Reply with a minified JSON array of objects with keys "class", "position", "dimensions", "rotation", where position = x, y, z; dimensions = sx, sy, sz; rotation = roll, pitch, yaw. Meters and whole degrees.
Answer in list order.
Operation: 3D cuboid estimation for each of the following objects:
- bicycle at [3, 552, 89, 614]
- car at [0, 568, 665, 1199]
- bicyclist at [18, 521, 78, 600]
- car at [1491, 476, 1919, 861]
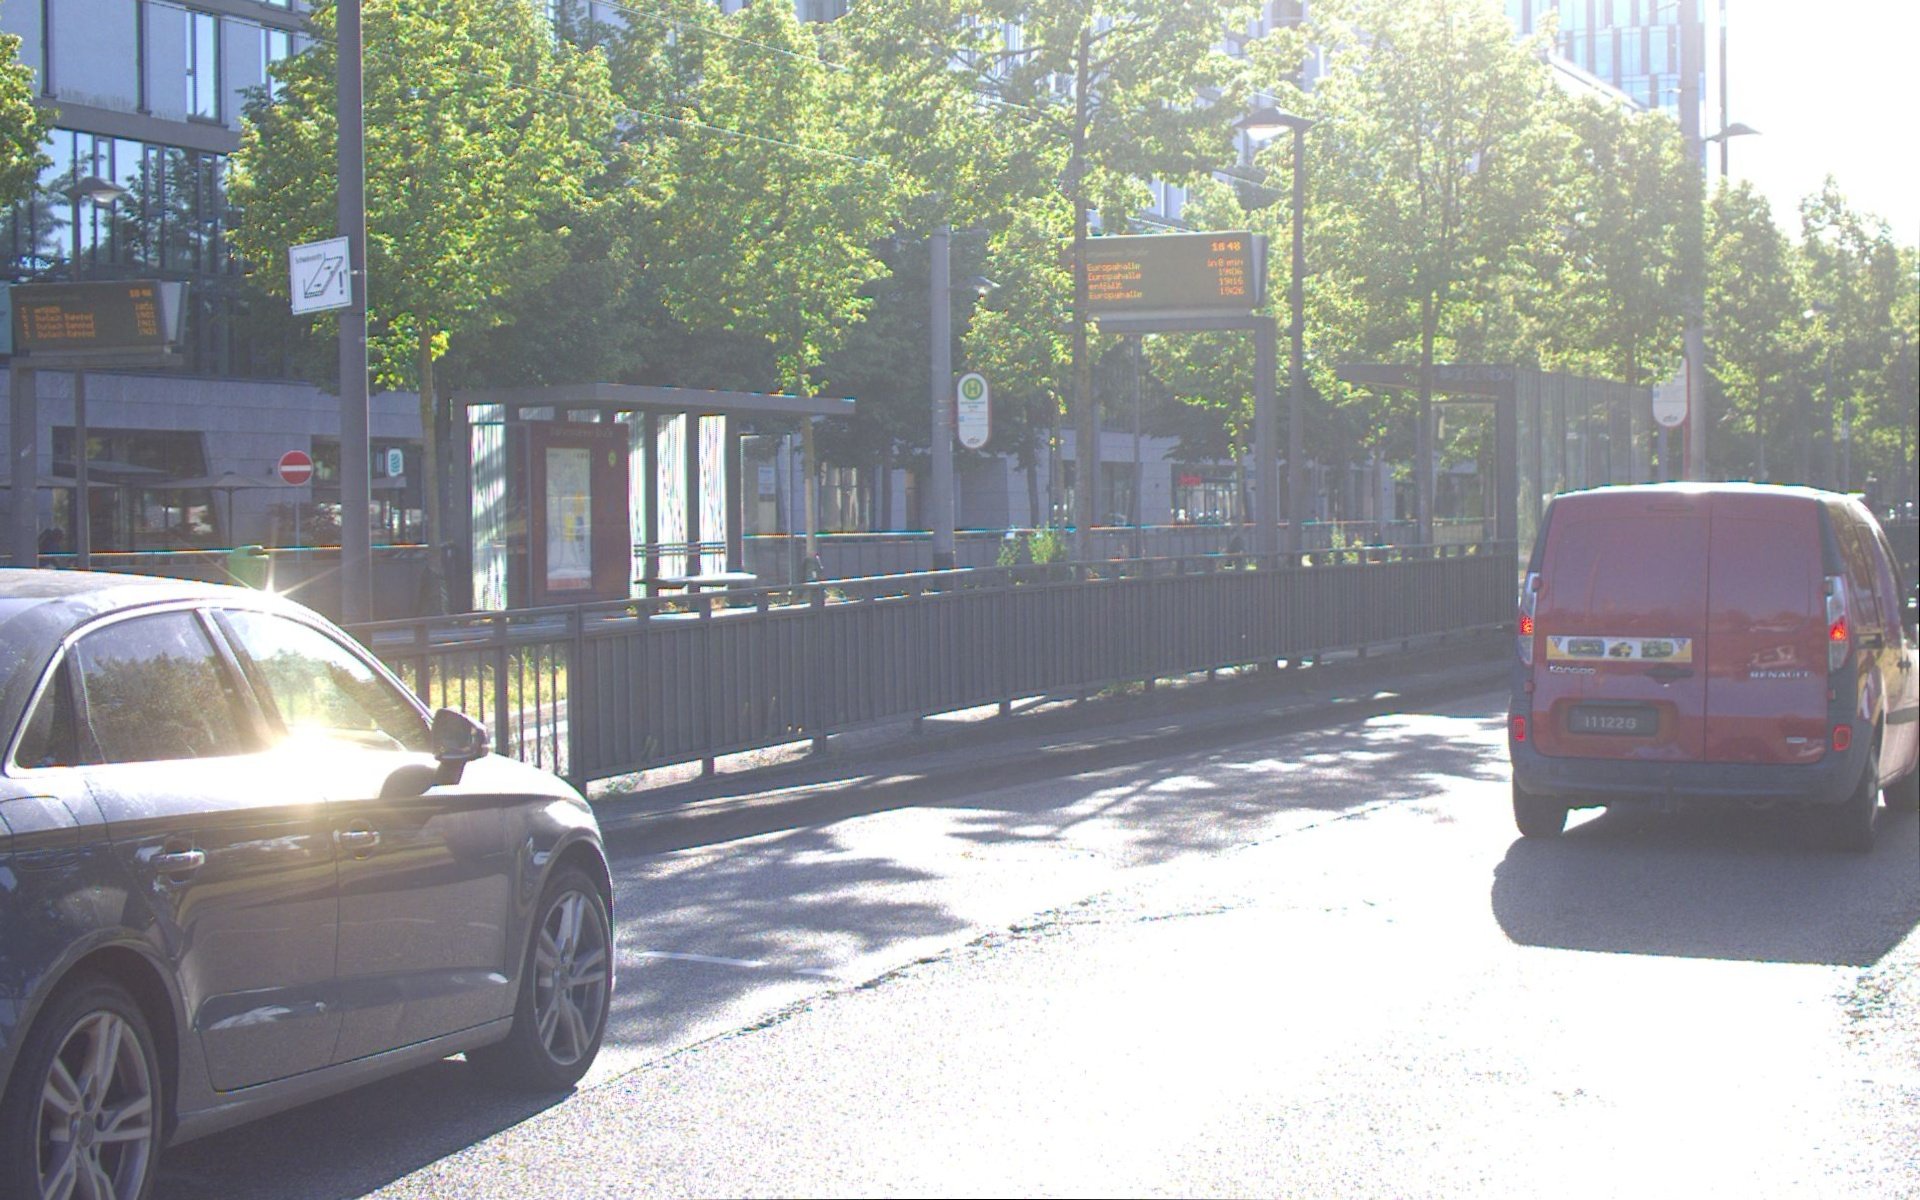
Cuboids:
[{"class":"bicycle","position":[-17.180,-0.329,64.644],"dimensions":[0.733,1.116,1.569],"rotation":[1,2,24]},{"class":"car","position":[-2.205,0.630,7.966],"dimensions":[1.722,1.361,4.143],"rotation":[2,1,14]},{"class":"bicyclist","position":[-17.155,-0.743,64.659],"dimensions":[0.721,1.458,0.831],"rotation":[1,2,23]},{"class":"car","position":[4.096,0.295,18.065],"dimensions":[1.799,1.771,3.996],"rotation":[1,1,20]}]
